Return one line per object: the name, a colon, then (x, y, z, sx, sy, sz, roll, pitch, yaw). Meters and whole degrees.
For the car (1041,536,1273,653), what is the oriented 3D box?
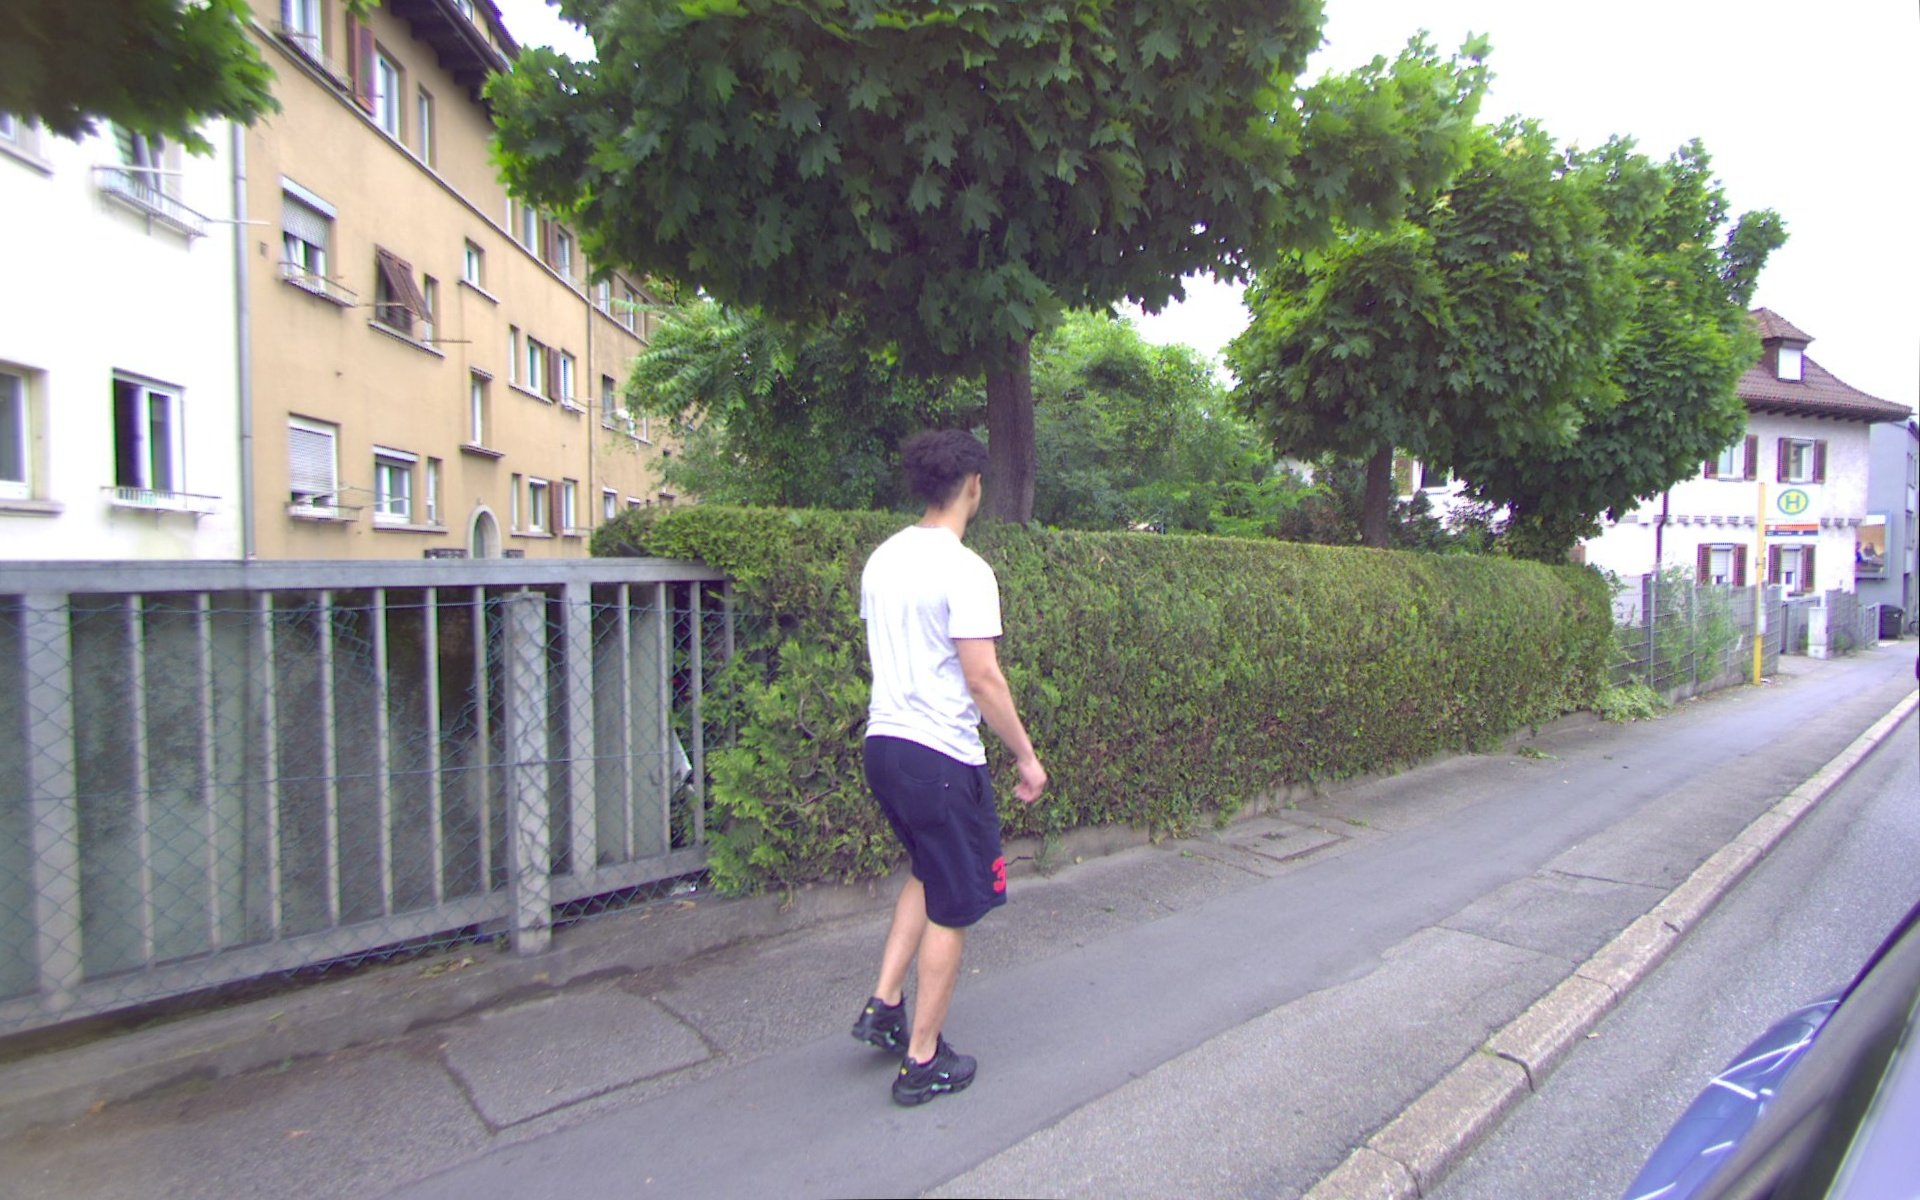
car: (3.619, -0.114, 19.179, 3.923, 2.039, 2.001, 1, 1, -1)

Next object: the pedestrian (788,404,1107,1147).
pedestrian: (-0.058, 0.396, 2.780, 0.459, 1.758, 0.695, 0, 4, -42)
